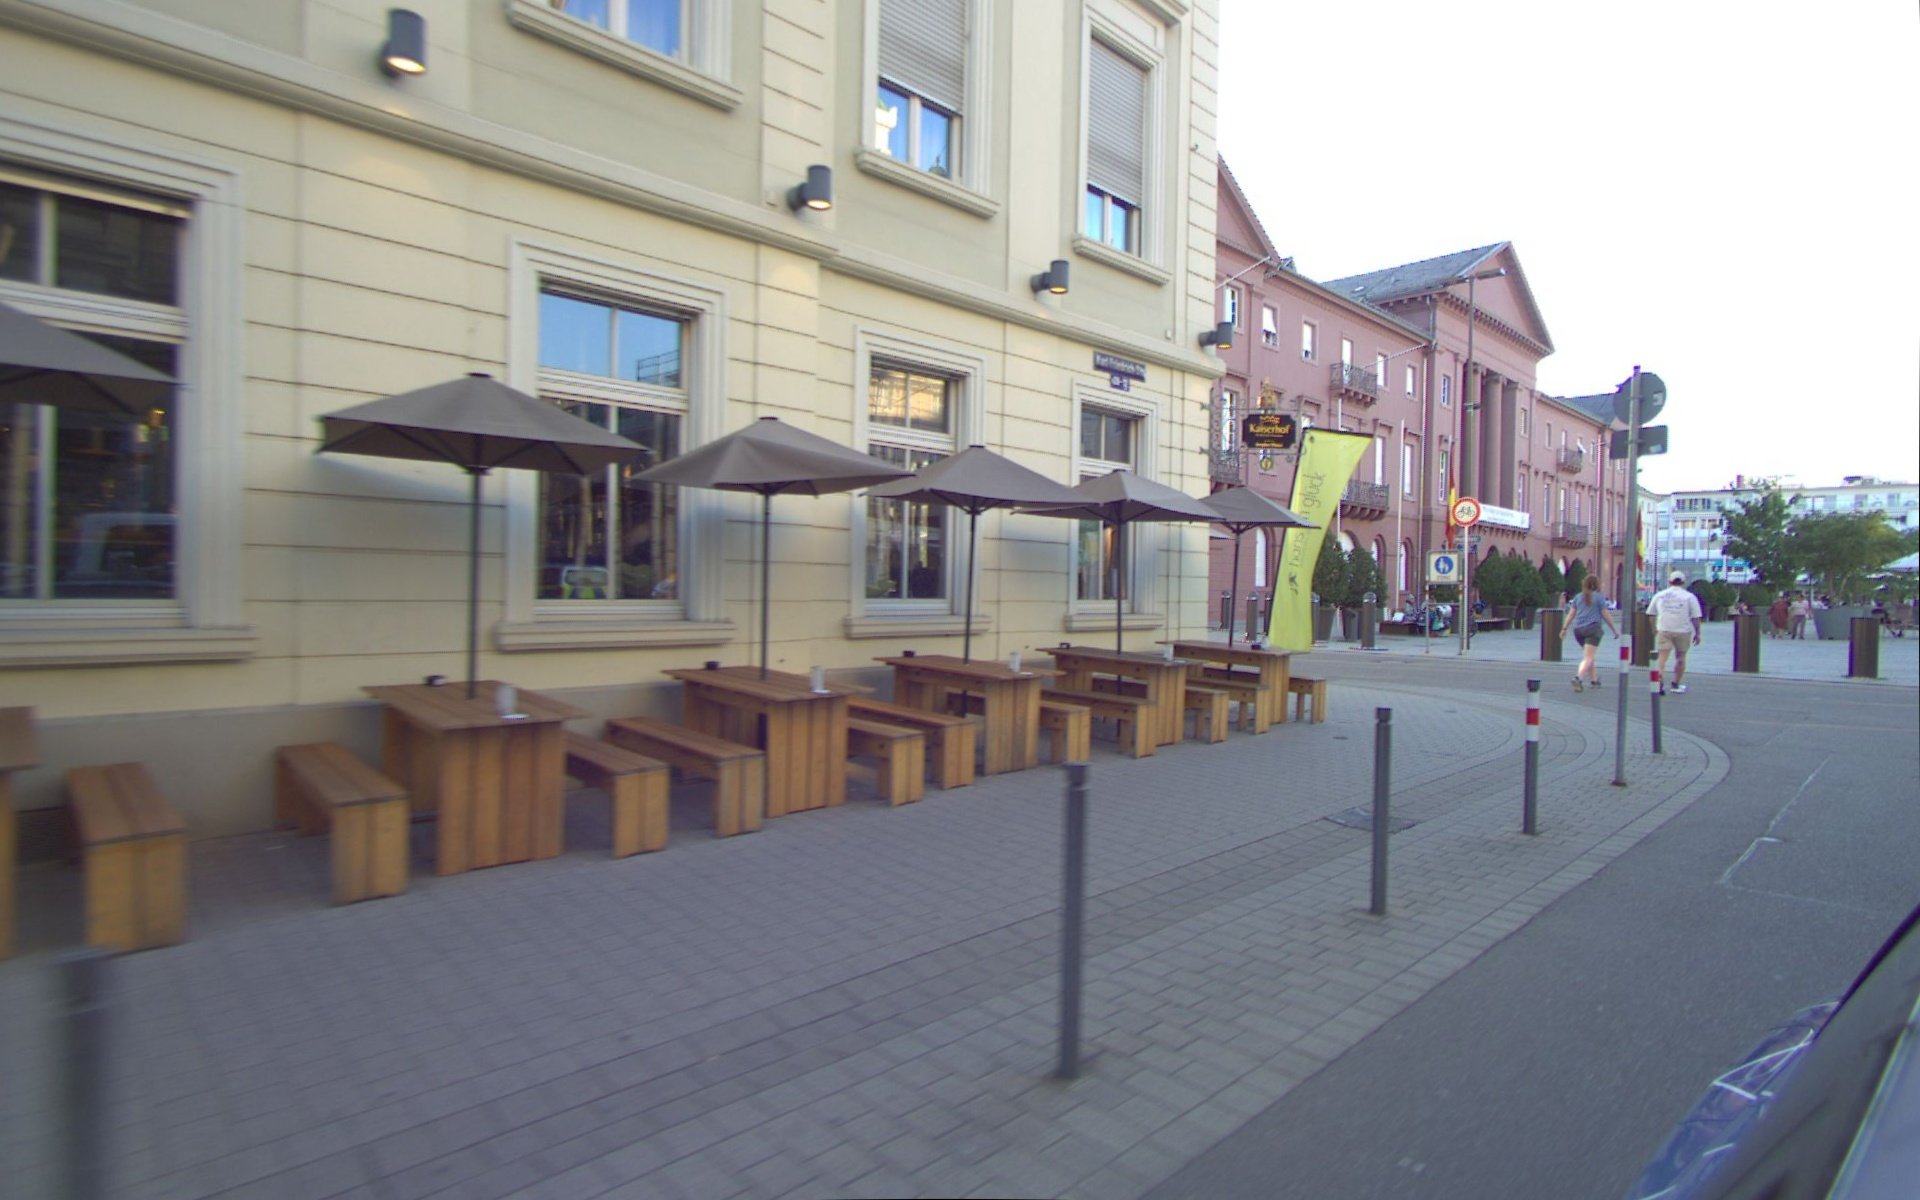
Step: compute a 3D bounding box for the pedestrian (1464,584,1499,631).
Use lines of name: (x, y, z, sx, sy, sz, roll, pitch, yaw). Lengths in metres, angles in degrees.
pedestrian: (16.648, 0.243, 32.330, 0.572, 1.466, 0.832, 1, 1, -13)

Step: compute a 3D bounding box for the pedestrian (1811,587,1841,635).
pedestrian: (29.218, 0.355, 34.146, 0.682, 1.578, 0.642, 2, 1, 44)

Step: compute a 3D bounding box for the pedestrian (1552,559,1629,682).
pedestrian: (9.203, 0.288, 14.792, 0.704, 1.751, 0.609, 1, 1, -1)

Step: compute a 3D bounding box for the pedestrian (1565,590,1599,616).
pedestrian: (31.082, 0.139, 50.528, 1.395, 1.278, 1.311, 2, 1, 33)

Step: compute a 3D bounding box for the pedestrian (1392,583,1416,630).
pedestrian: (14.063, 0.187, 32.060, 0.576, 1.466, 0.826, 1, 1, 17)

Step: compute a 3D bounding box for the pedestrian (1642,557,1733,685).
pedestrian: (10.223, 0.280, 14.248, 0.751, 1.751, 0.669, 1, 1, -1)

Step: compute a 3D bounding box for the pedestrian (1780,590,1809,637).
pedestrian: (28.645, 0.445, 34.729, 0.682, 1.586, 0.642, 2, 1, 44)

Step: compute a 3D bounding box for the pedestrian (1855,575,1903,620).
pedestrian: (47.193, -0.139, 51.991, 1.233, 2.263, 1.499, 1, 1, 14)

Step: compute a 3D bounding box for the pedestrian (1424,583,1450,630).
pedestrian: (15.031, 0.198, 31.908, 0.576, 1.466, 0.826, 1, 1, 17)

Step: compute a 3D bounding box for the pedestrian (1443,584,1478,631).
pedestrian: (15.860, 0.225, 32.076, 0.572, 1.466, 0.832, 1, 1, -11)
